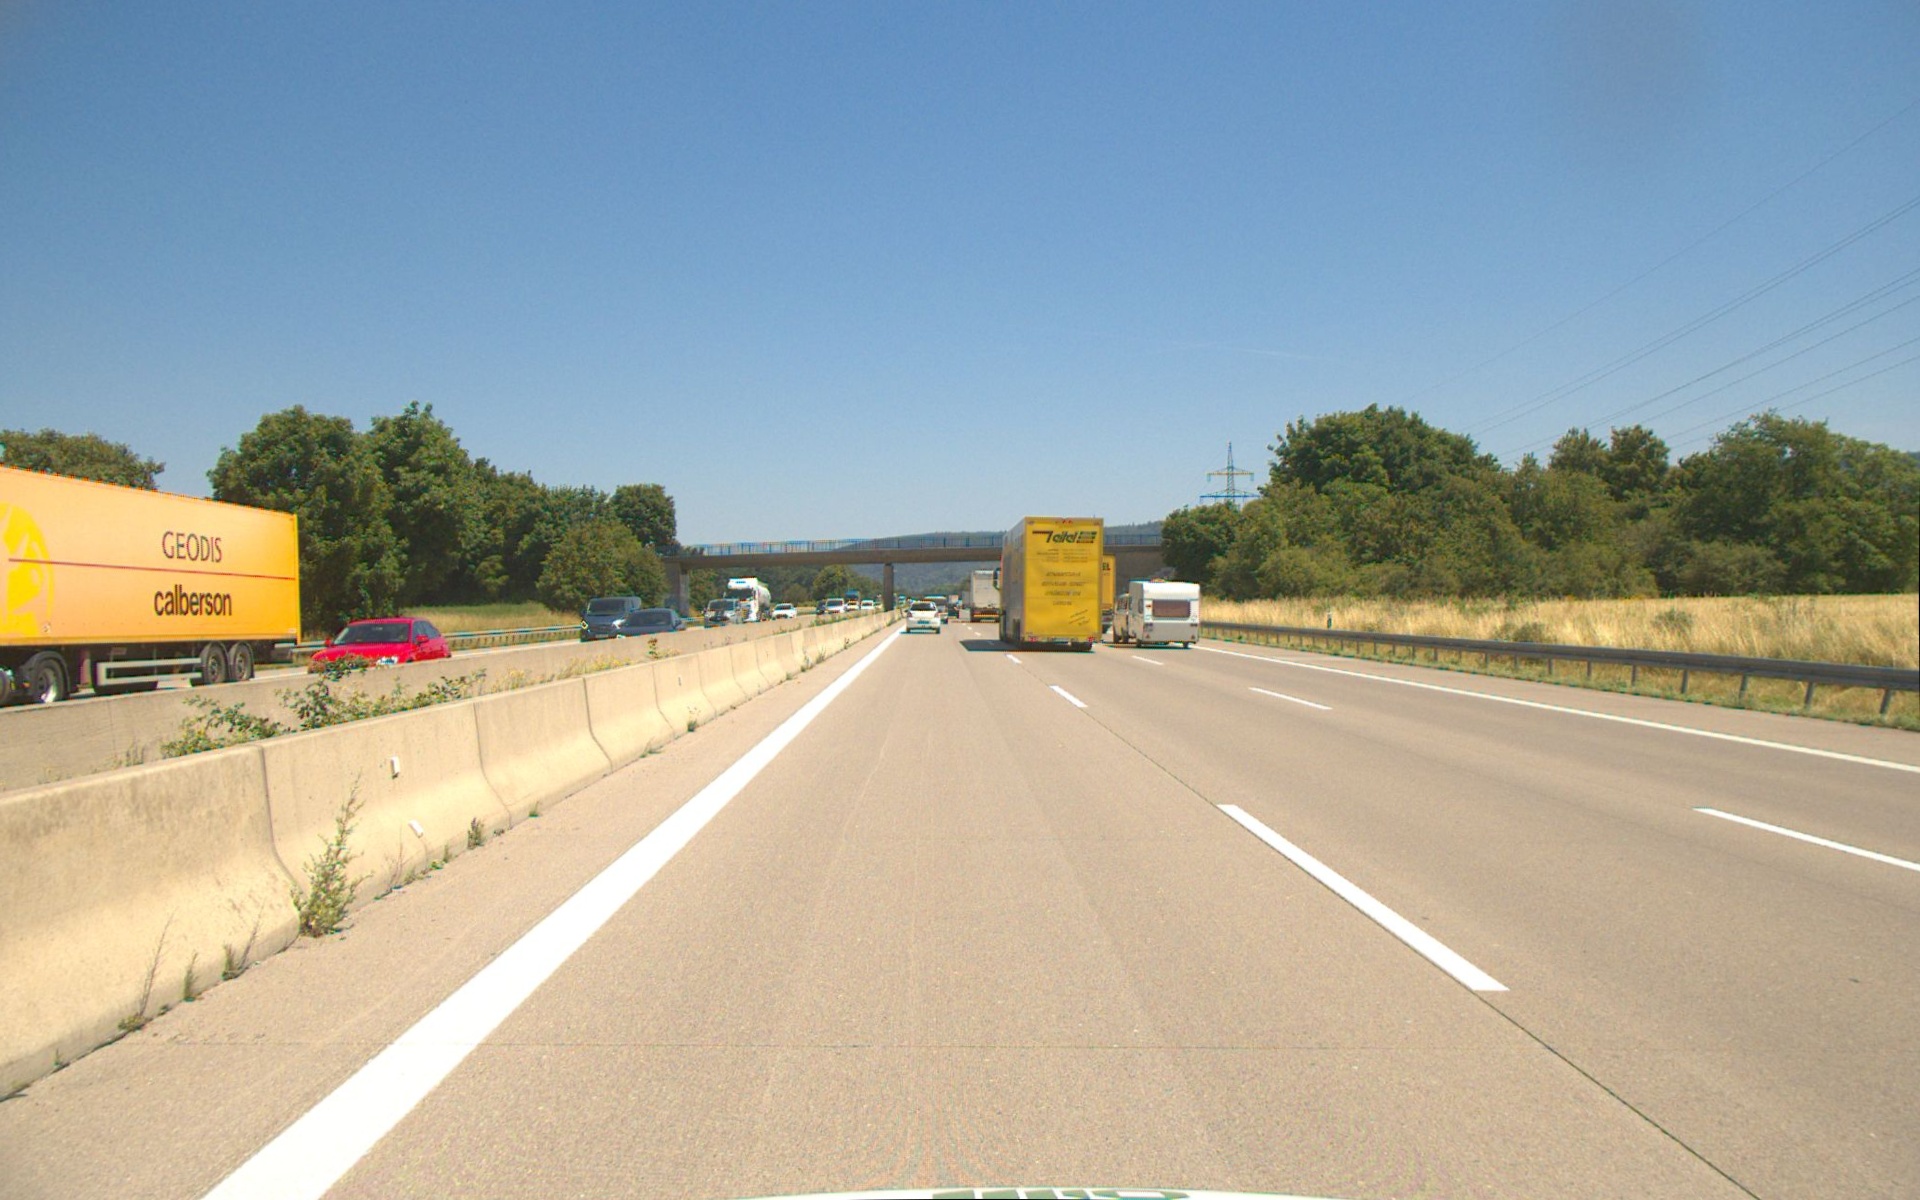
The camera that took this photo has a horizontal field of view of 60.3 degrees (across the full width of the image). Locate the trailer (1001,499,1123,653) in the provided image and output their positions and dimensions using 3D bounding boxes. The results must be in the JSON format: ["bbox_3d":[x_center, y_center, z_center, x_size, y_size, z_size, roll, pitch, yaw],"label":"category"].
[{"bbox_3d":[3.259,-0.755,56.966,3.150,4.643,13.454,1,0,-1],"label":"trailer"}]

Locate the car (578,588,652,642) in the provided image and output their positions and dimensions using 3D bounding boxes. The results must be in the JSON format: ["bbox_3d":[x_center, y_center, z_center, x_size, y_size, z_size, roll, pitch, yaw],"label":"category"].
[{"bbox_3d":[-13.782,0.553,66.424,1.892,2.035,5.516,1,1,-1],"label":"car"}]

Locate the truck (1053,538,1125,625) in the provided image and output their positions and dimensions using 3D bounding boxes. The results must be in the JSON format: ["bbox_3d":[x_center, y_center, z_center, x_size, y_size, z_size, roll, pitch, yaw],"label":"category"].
[{"bbox_3d":[6.843,-0.942,89.386,2.938,4.390,9.682,1,0,-1],"label":"truck"}]

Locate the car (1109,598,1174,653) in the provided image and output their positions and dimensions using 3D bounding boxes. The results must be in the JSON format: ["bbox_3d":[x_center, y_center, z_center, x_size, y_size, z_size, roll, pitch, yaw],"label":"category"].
[{"bbox_3d":[7.014,0.950,64.249,1.953,2.049,3.999,1,0,-1],"label":"car"}]

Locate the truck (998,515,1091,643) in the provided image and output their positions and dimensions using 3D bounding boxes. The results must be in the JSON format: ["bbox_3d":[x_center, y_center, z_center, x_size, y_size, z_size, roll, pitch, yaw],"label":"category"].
[{"bbox_3d":[3.156,-0.780,63.458,3.150,4.643,5.835,1,0,-1],"label":"truck"}]

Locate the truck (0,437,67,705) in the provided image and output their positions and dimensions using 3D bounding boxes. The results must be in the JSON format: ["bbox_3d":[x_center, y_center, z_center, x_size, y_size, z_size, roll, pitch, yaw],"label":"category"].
[{"bbox_3d":[-16.668,-0.423,25.582,2.810,4.269,5.228,-2,0,-1],"label":"truck"}]

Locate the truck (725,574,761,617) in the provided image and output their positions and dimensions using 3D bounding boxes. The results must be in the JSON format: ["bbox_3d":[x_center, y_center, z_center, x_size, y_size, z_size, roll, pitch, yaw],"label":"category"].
[{"bbox_3d":[-18.923,-0.385,144.616,2.549,3.651,4.718,1,0,-1],"label":"truck"}]

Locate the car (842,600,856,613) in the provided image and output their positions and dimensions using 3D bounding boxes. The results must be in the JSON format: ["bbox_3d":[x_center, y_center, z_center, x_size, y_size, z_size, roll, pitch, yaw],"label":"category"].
[{"bbox_3d":[-17.164,0.987,255.317,1.953,1.838,3.999,1,0,-1],"label":"car"}]

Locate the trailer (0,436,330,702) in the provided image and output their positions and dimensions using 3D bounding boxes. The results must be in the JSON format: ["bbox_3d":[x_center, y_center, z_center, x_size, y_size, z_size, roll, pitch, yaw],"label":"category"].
[{"bbox_3d":[-16.847,-0.442,33.625,2.815,4.271,14.137,-2,0,-1],"label":"trailer"}]

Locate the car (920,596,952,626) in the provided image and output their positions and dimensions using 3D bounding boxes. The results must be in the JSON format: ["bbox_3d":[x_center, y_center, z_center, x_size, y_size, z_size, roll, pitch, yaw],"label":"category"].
[{"bbox_3d":[-1.676,0.773,118.413,2.208,2.049,4.297,1,0,0],"label":"car"}]

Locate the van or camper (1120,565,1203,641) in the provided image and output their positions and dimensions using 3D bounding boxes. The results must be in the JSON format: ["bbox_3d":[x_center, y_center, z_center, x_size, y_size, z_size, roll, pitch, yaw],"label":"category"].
[{"bbox_3d":[7.174,0.083,59.495,2.179,2.575,5.429,1,0,-1],"label":"van or camper"}]

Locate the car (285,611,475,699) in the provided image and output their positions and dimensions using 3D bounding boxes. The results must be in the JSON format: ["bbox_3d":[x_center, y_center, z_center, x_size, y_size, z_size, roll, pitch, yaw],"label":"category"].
[{"bbox_3d":[-10.763,0.968,31.095,1.953,1.419,4.716,-2,0,-1],"label":"car"}]

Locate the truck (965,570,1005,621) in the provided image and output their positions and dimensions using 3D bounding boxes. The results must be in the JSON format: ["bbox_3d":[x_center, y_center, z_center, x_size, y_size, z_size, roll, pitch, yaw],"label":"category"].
[{"bbox_3d":[1.888,-0.336,128.024,2.763,3.827,6.282,1,0,-1],"label":"truck"}]

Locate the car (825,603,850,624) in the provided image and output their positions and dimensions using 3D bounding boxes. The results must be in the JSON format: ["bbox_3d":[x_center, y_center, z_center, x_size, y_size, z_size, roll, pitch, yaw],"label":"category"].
[{"bbox_3d":[-11.026,1.212,149.542,1.953,1.765,5.113,-2,0,-2],"label":"car"}]

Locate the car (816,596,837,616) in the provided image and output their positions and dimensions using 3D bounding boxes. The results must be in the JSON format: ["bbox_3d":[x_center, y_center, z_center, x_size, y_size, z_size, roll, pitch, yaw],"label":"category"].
[{"bbox_3d":[-15.075,0.644,186.866,1.953,2.175,5.880,-2,0,-1],"label":"car"}]

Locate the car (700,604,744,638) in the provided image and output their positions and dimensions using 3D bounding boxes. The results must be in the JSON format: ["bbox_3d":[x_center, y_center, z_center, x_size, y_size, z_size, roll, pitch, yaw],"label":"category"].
[{"bbox_3d":[-14.634,1.256,102.116,1.953,1.973,5.688,-2,0,-1],"label":"car"}]

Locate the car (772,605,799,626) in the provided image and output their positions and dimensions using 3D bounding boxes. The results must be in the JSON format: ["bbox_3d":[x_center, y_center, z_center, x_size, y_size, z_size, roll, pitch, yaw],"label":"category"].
[{"bbox_3d":[-14.863,1.311,141.230,1.884,1.639,4.684,-2,0,-1],"label":"car"}]

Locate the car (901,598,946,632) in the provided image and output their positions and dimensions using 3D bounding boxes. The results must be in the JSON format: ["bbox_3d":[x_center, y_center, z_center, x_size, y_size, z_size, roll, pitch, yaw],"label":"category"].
[{"bbox_3d":[-1.769,0.703,80.844,2.064,1.563,4.122,1,0,0],"label":"car"}]

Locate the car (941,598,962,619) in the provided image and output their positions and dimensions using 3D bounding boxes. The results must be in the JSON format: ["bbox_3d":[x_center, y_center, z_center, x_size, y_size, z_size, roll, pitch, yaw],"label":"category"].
[{"bbox_3d":[-0.822,0.835,162.920,1.953,2.049,3.999,1,0,-1],"label":"car"}]

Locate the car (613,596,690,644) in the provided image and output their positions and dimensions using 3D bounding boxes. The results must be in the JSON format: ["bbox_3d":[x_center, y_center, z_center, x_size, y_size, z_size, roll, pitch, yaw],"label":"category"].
[{"bbox_3d":[-9.350,0.583,50.367,1.656,1.355,3.999,1,0,-1],"label":"car"}]
